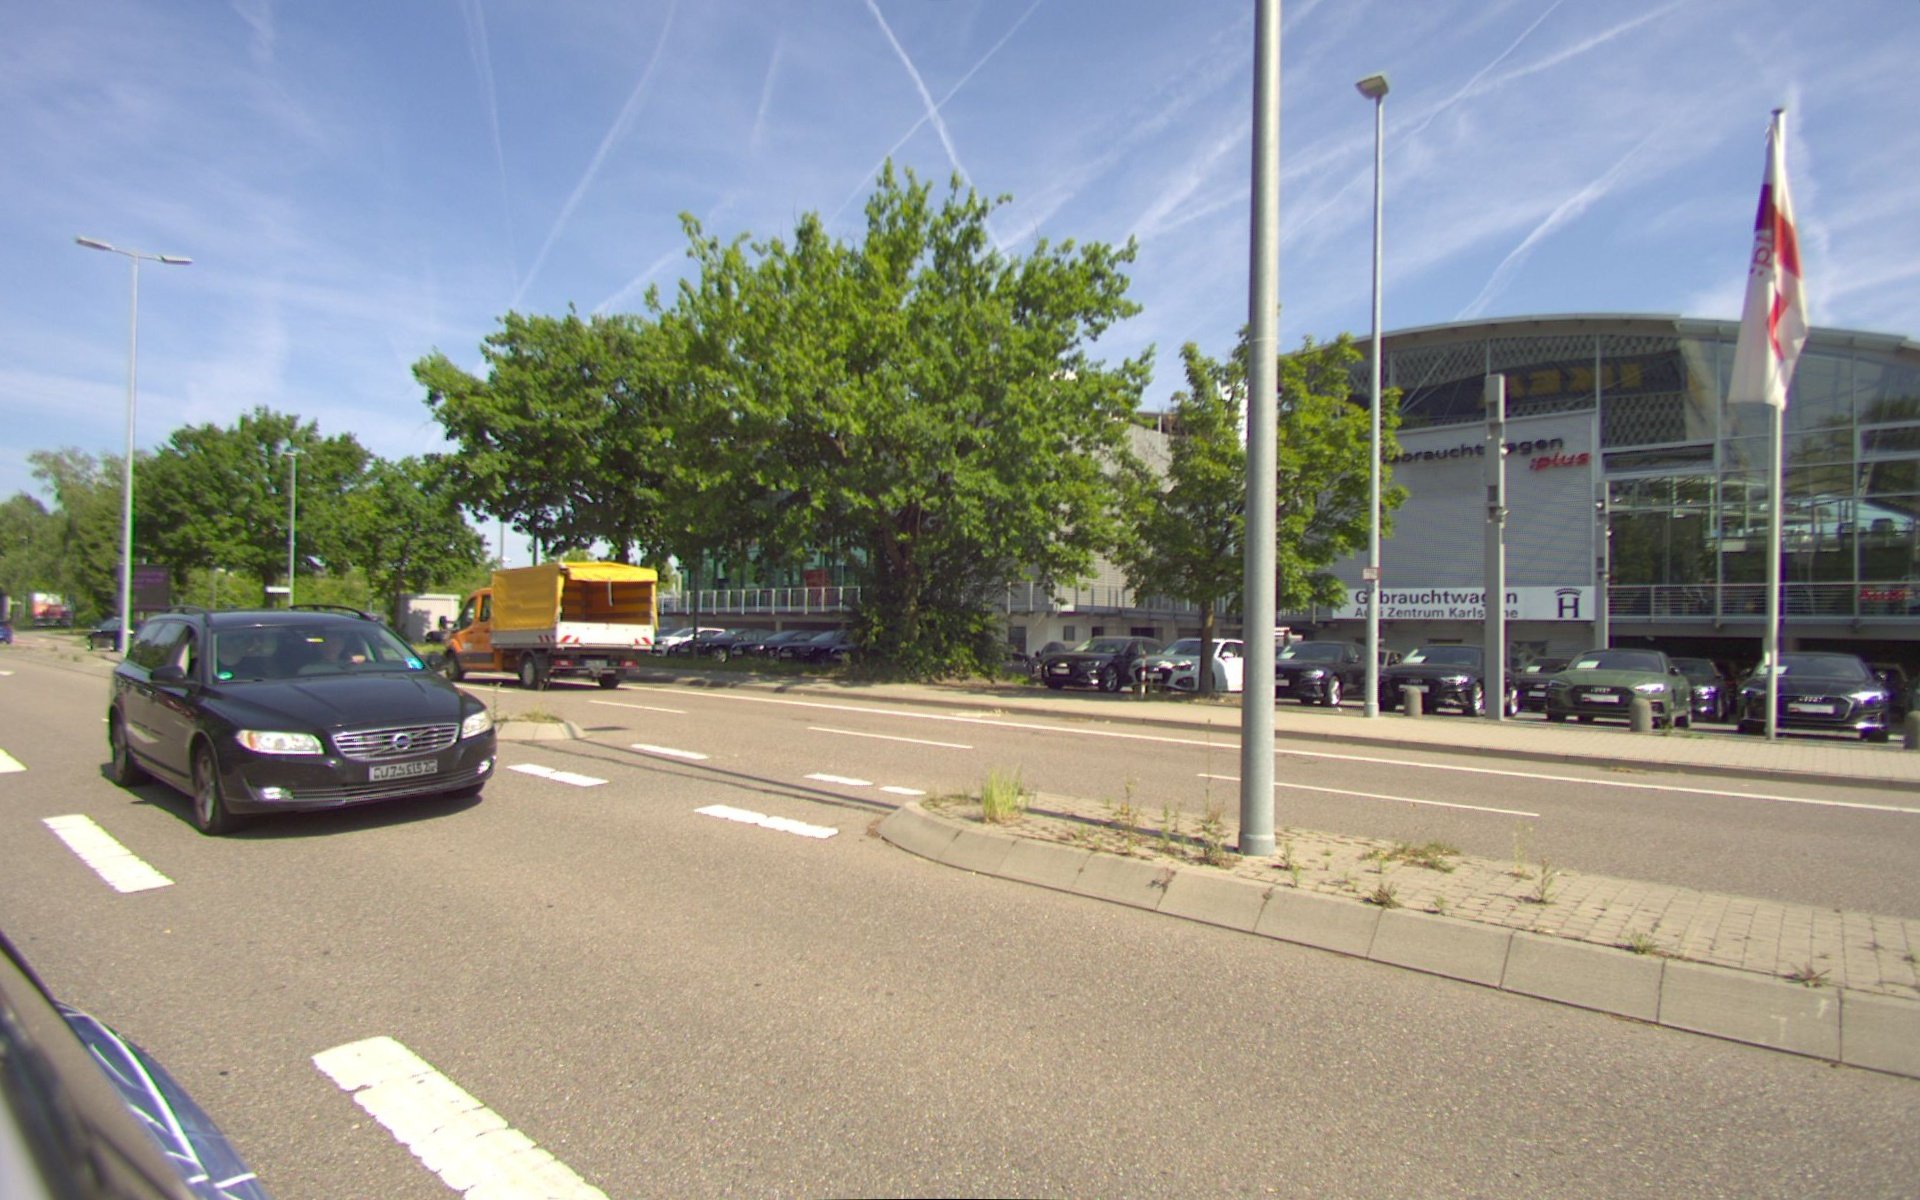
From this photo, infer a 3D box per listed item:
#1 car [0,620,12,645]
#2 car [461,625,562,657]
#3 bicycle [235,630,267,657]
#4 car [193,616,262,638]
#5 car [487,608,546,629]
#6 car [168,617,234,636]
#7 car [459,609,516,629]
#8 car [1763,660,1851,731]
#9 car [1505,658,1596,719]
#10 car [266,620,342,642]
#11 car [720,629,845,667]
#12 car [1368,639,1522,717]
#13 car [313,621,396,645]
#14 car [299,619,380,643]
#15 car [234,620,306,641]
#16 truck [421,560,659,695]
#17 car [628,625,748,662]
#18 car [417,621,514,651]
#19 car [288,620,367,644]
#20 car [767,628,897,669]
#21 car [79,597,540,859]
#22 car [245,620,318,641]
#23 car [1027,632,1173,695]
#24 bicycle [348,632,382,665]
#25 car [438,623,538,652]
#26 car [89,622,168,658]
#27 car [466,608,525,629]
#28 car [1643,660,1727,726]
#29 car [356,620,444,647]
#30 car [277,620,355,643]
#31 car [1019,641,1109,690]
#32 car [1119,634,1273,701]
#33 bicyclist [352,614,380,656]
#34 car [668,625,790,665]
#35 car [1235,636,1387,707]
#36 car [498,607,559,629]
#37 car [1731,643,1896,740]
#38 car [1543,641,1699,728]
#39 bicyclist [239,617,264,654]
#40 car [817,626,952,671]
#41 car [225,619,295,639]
[{"bbox_3d":[-58.789,1.927,61.185,3.867,1.449,1.710,-1,-4,41],"label":"car"},{"bbox_3d":[-21.748,1.993,49.183,1.690,1.335,4.141,-1,-5,42],"label":"car"},{"bbox_3d":[-31.426,1.929,44.848,1.766,1.159,0.566,-1,-3,35],"label":"bicycle"},{"bbox_3d":[-58.780,2.213,81.216,1.690,1.510,4.141,-1,-5,42],"label":"car"},{"bbox_3d":[-36.654,1.529,83.725,1.690,1.510,4.141,-1,-5,42],"label":"car"},{"bbox_3d":[-64.678,2.276,86.292,1.690,1.389,4.141,-1,-5,42],"label":"car"},{"bbox_3d":[-40.938,1.663,87.726,1.690,1.510,4.141,-1,-5,42],"label":"car"},{"bbox_3d":[20.456,2.251,24.491,1.522,1.484,3.472,-1,-2,40],"label":"car"},{"bbox_3d":[16.429,2.408,28.086,1.588,1.484,3.471,-1,-2,40],"label":"car"},{"bbox_3d":[-46.226,2.218,71.347,1.690,1.333,4.141,-1,-5,42],"label":"car"},{"bbox_3d":[-6.160,1.701,35.486,1.719,1.131,4.141,-1,-5,42],"label":"car"},{"bbox_3d":[9.750,1.569,20.179,1.828,1.365,4.237,-1,-5,39],"label":"car"},{"bbox_3d":[-38.350,2.110,64.161,1.690,1.333,4.141,-1,-5,42],"label":"car"},{"bbox_3d":[-40.329,2.040,65.815,1.690,1.333,4.141,-1,-5,42],"label":"car"},{"bbox_3d":[-52.050,2.287,76.428,1.690,1.333,4.141,-1,-5,42],"label":"car"},{"bbox_3d":[-9.681,0.666,22.952,6.672,2.645,2.349,-1,-4,43],"label":"truck"},{"bbox_3d":[-10.371,1.691,38.800,1.690,1.204,4.141,-1,-5,42],"label":"car"},{"bbox_3d":[-25.584,1.902,52.496,1.690,1.333,4.141,-1,-5,42],"label":"car"},{"bbox_3d":[-42.181,2.135,67.540,1.690,1.333,4.141,-1,-5,42],"label":"car"},{"bbox_3d":[-4.177,1.634,33.565,1.695,1.143,4.141,-1,-5,42],"label":"car"},{"bbox_3d":[-5.497,0.784,8.235,4.866,1.533,1.858,-1,-1,41],"label":"car"},{"bbox_3d":[-50.115,2.288,74.845,1.690,1.333,4.141,-1,-5,42],"label":"car"},{"bbox_3d":[3.601,1.630,25.489,1.808,1.412,3.983,-1,-5,40],"label":"car"},{"bbox_3d":[-21.782,1.760,37.039,1.925,1.159,0.565,-1,-3,44],"label":"bicycle"},{"bbox_3d":[-23.695,1.914,50.907,1.690,1.256,4.141,-1,-5,42],"label":"car"},{"bbox_3d":[-37.445,1.776,45.532,4.660,1.471,1.828,-1,-5,40],"label":"car"},{"bbox_3d":[-39.447,1.597,85.949,1.690,1.510,4.141,-1,-5,42],"label":"car"},{"bbox_3d":[18.690,2.339,26.038,1.522,1.484,3.472,-1,-2,40],"label":"car"},{"bbox_3d":[-32.645,1.985,59.061,1.690,1.333,4.141,-1,-5,42],"label":"car"},{"bbox_3d":[-44.310,2.168,69.687,1.690,1.333,4.141,-1,-5,42],"label":"car"},{"bbox_3d":[3.049,1.931,30.431,1.662,1.343,3.848,1,-2,-11],"label":"car"},{"bbox_3d":[5.594,1.613,23.656,1.801,1.405,4.172,-1,-5,40],"label":"car"},{"bbox_3d":[-21.746,1.273,37.029,1.144,1.494,0.564,-1,-3,44],"label":"bicyclist"},{"bbox_3d":[-8.428,1.675,37.230,1.690,1.256,4.141,-1,-5,42],"label":"car"},{"bbox_3d":[7.681,1.572,21.918,1.833,1.365,4.069,-1,-5,39],"label":"car"},{"bbox_3d":[-34.985,1.459,82.157,1.690,1.510,4.141,-1,-5,42],"label":"car"},{"bbox_3d":[13.787,1.464,16.332,1.837,1.329,3.944,-1,-5,42],"label":"car"},{"bbox_3d":[11.944,1.510,18.168,1.853,1.345,4.132,-1,-5,40],"label":"car"},{"bbox_3d":[-31.343,1.560,44.792,0.908,1.608,0.571,-1,-3,35],"label":"bicyclist"},{"bbox_3d":[-2.304,1.544,31.838,1.796,1.236,4.141,-1,-5,42],"label":"car"},{"bbox_3d":[-54.131,2.279,78.288,1.690,1.333,4.141,-1,-5,42],"label":"car"}]
